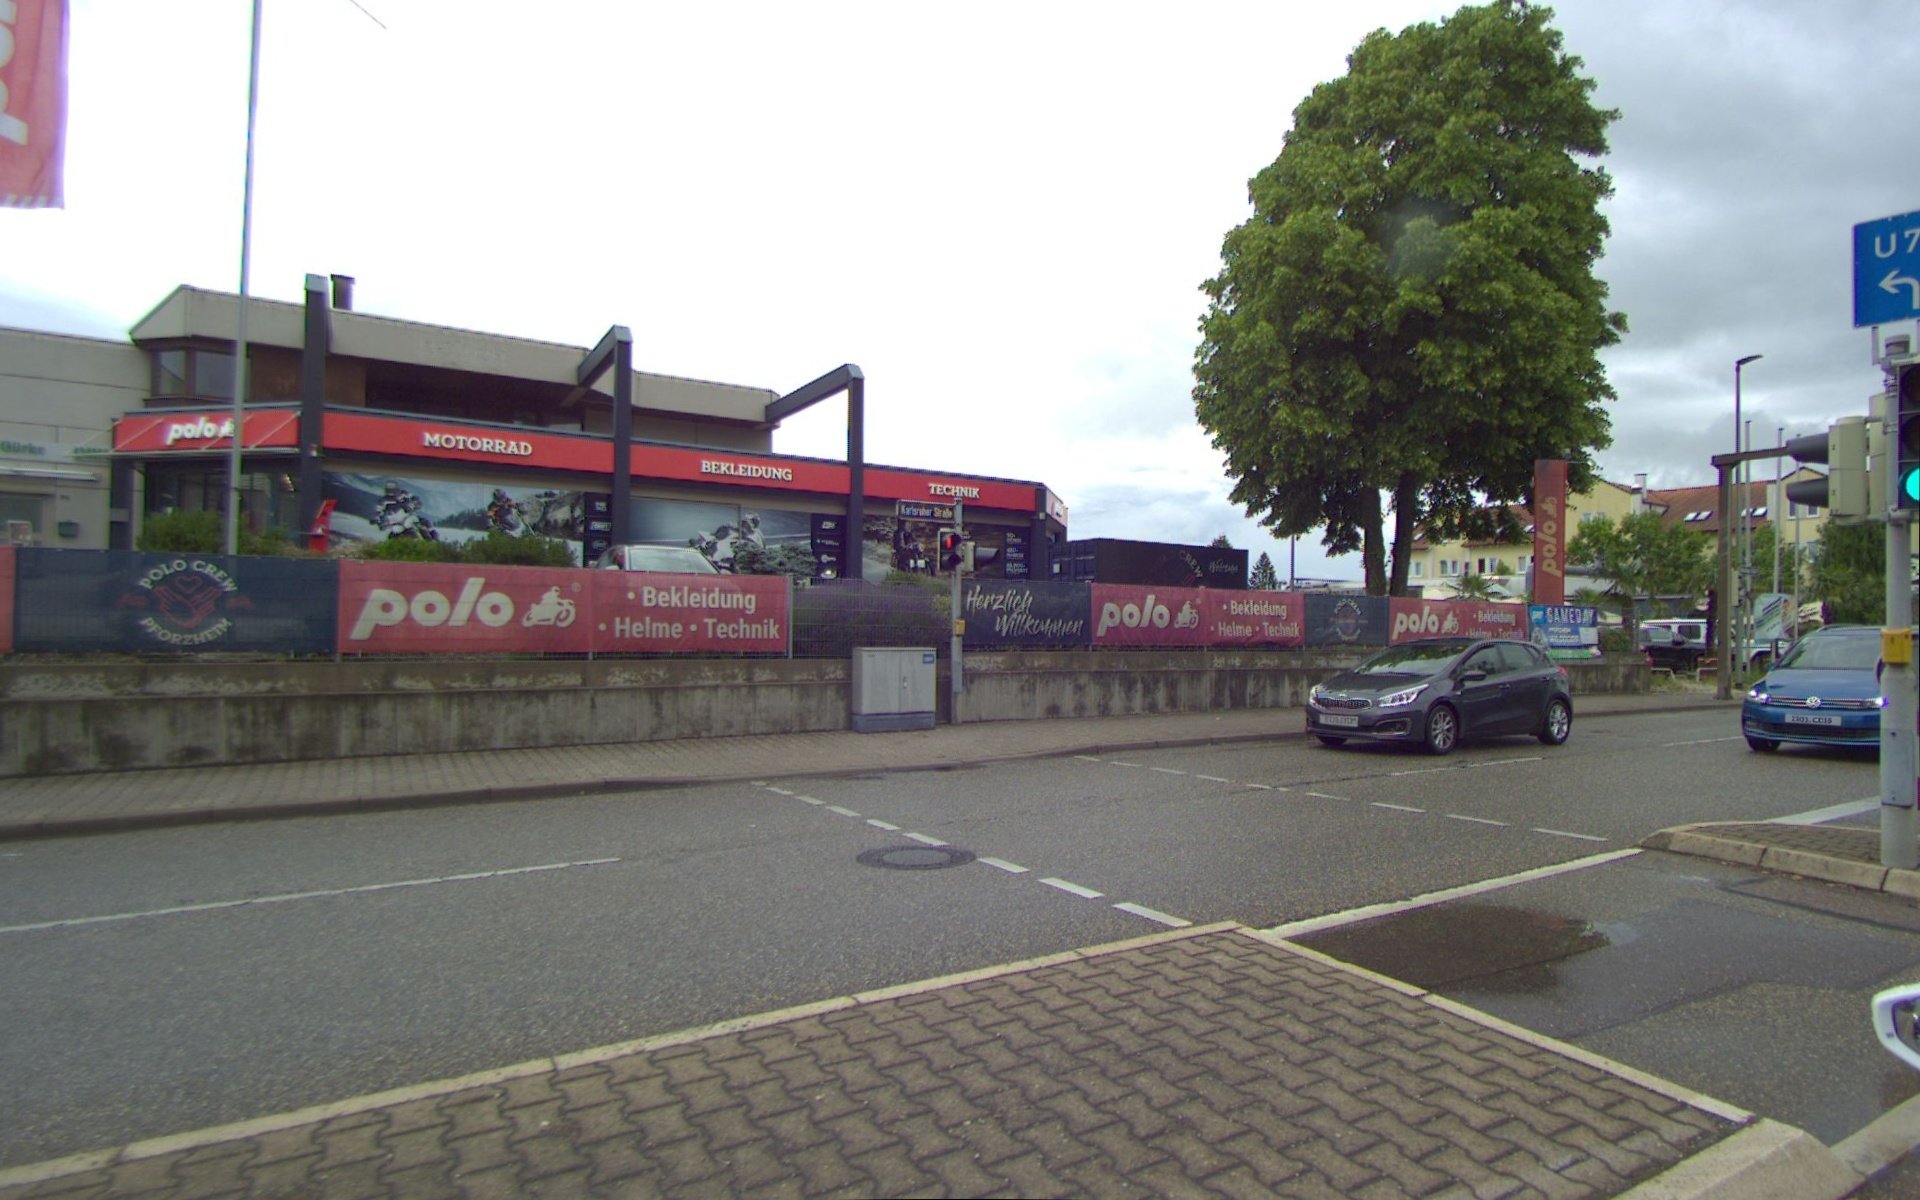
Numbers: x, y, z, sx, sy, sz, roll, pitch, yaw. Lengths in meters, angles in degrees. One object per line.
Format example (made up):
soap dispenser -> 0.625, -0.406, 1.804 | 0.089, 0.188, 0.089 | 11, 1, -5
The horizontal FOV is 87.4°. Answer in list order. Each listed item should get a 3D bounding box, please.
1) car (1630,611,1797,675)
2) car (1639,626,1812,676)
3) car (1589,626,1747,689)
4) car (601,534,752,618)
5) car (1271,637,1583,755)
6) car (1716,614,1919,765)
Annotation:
car -> 25.513, 1.466, 34.239 | 4.324, 2.040, 1.995 | -2, -3, 32
car -> 28.334, 1.911, 37.442 | 4.927, 1.724, 1.996 | -2, -5, 33
car -> 18.774, 1.517, 26.843 | 1.633, 1.523, 3.619 | 1, -2, -1
car -> -4.555, -0.304, 15.865 | 1.438, 1.183, 3.368 | 1, -1, -32
car -> 6.426, 1.203, 13.756 | 4.077, 1.397, 1.908 | 1, -2, -31
car -> 11.865, 1.064, 13.032 | 4.248, 1.671, 1.830 | 1, -2, -31
